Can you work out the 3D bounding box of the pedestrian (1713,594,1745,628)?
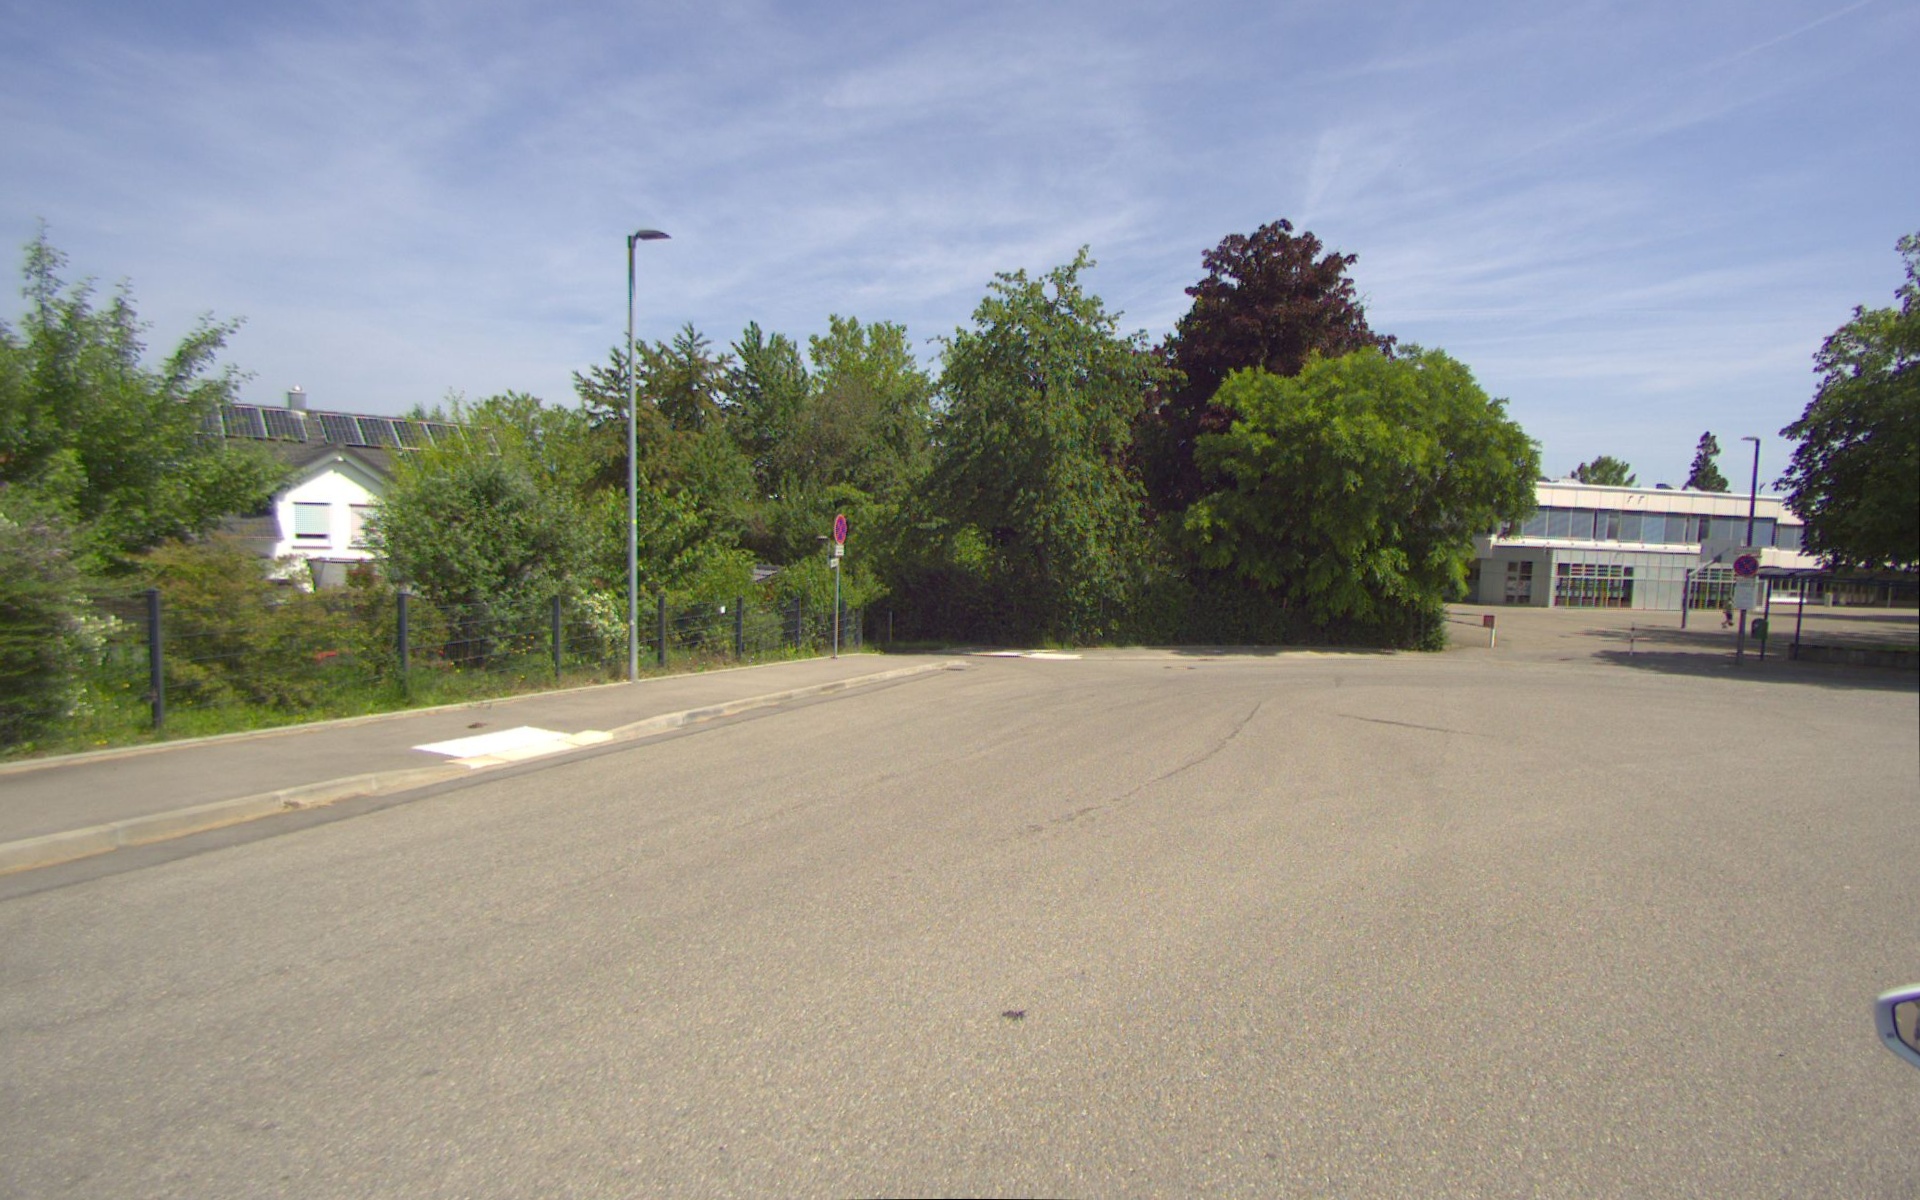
[{"bbox_3d":[34.772,0.488,45.445,1.052,1.442,0.916,4,3,35],"label":"pedestrian"}]
